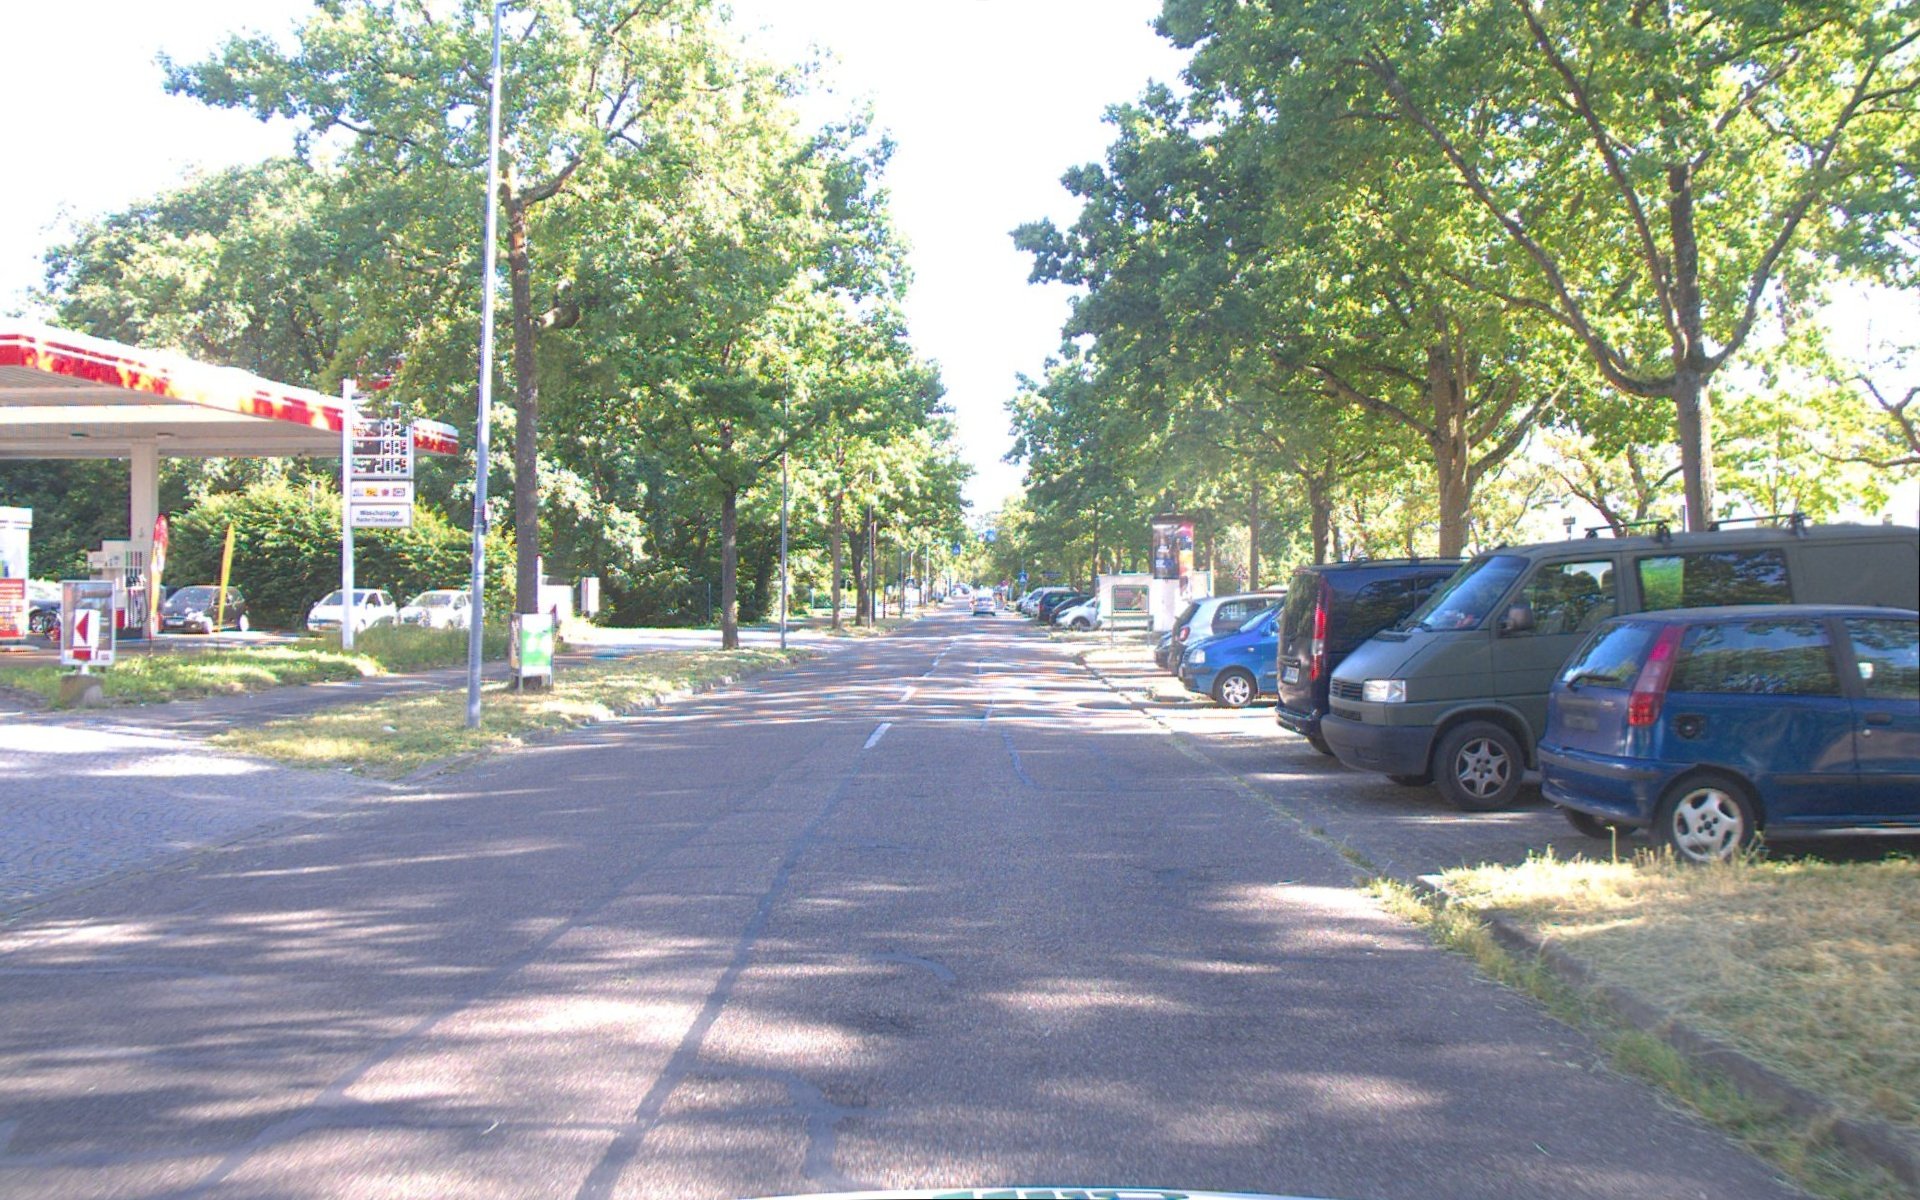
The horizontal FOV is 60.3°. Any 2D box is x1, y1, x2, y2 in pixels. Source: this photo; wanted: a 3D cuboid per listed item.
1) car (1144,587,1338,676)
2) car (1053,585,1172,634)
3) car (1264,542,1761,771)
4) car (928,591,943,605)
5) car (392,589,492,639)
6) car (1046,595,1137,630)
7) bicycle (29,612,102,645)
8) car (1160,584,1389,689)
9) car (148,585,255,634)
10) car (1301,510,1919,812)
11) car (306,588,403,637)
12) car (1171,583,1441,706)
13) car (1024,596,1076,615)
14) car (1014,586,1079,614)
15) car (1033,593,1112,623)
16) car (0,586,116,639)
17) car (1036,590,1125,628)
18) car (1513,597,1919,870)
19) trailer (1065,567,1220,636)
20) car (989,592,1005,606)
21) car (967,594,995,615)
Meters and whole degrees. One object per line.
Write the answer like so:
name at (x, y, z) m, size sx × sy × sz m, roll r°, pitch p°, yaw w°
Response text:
car at (5.513, 0.604, 32.763) m, size 3.510 × 1.604 × 1.857 m, roll -2°, pitch 0°, yaw 0°
car at (5.979, 0.382, 65.231) m, size 4.546 × 1.752 × 1.988 m, roll -2°, pitch 0°, yaw 1°
car at (4.965, 0.486, 15.231) m, size 3.928 × 1.869 × 1.799 m, roll -2°, pitch 0°, yaw -2°
car at (-3.168, -0.270, 215.174) m, size 1.952 × 1.746 × 4.000 m, roll 1°, pitch 0°, yaw 0°
car at (-15.810, 0.413, 50.639) m, size 1.513 × 1.447 × 3.490 m, roll 2°, pitch 0°, yaw 9°
car at (6.140, 0.585, 77.854) m, size 4.157 × 1.545 × 2.078 m, roll -1°, pitch 0°, yaw 2°
bicycle at (-23.418, 0.746, 43.324) m, size 0.604 × 0.821 × 1.781 m, roll 0°, pitch 0°, yaw 15°
car at (5.214, 0.592, 27.769) m, size 3.509 × 1.604 × 1.787 m, roll -2°, pitch 0°, yaw 2°
car at (-22.971, 0.278, 50.197) m, size 1.392 × 1.391 × 3.208 m, roll 2°, pitch 0°, yaw 9°
car at (5.182, 0.423, 12.707) m, size 4.704 × 2.067 × 1.944 m, roll -1°, pitch 0°, yaw 0°
car at (-18.463, 0.363, 50.545) m, size 1.392 × 1.391 × 3.208 m, roll 2°, pitch 0°, yaw 9°
car at (4.770, 0.604, 23.162) m, size 3.447 × 1.559 × 1.665 m, roll -2°, pitch 0°, yaw 2°
car at (6.777, 0.409, 124.389) m, size 3.904 × 1.458 × 1.901 m, roll 0°, pitch 0°, yaw 2°
car at (6.918, 0.020, 132.165) m, size 5.081 × 2.142 × 2.082 m, roll -1°, pitch 0°, yaw -1°
car at (6.722, 0.466, 99.141) m, size 4.574 × 1.608 × 1.917 m, roll -2°, pitch 0°, yaw 1°
car at (-26.491, 0.355, 48.050) m, size 3.126 × 1.425 × 1.586 m, roll 2°, pitch 0°, yaw 9°
car at (6.142, 0.437, 84.763) m, size 4.436 × 1.832 × 1.936 m, roll -1°, pitch 0°, yaw 1°
car at (5.532, 0.706, 9.814) m, size 3.906 × 1.428 × 1.739 m, roll -1°, pitch 0°, yaw 0°
trailer at (6.835, 0.060, 62.358) m, size 5.654 × 2.358 × 1.686 m, roll -2°, pitch 0°, yaw 3°
car at (4.704, -0.171, 208.971) m, size 1.952 × 1.746 × 4.000 m, roll 1°, pitch 0°, yaw 0°
car at (1.546, 0.354, 123.555) m, size 1.953 × 1.510 × 3.999 m, roll 0°, pitch 0°, yaw -1°
